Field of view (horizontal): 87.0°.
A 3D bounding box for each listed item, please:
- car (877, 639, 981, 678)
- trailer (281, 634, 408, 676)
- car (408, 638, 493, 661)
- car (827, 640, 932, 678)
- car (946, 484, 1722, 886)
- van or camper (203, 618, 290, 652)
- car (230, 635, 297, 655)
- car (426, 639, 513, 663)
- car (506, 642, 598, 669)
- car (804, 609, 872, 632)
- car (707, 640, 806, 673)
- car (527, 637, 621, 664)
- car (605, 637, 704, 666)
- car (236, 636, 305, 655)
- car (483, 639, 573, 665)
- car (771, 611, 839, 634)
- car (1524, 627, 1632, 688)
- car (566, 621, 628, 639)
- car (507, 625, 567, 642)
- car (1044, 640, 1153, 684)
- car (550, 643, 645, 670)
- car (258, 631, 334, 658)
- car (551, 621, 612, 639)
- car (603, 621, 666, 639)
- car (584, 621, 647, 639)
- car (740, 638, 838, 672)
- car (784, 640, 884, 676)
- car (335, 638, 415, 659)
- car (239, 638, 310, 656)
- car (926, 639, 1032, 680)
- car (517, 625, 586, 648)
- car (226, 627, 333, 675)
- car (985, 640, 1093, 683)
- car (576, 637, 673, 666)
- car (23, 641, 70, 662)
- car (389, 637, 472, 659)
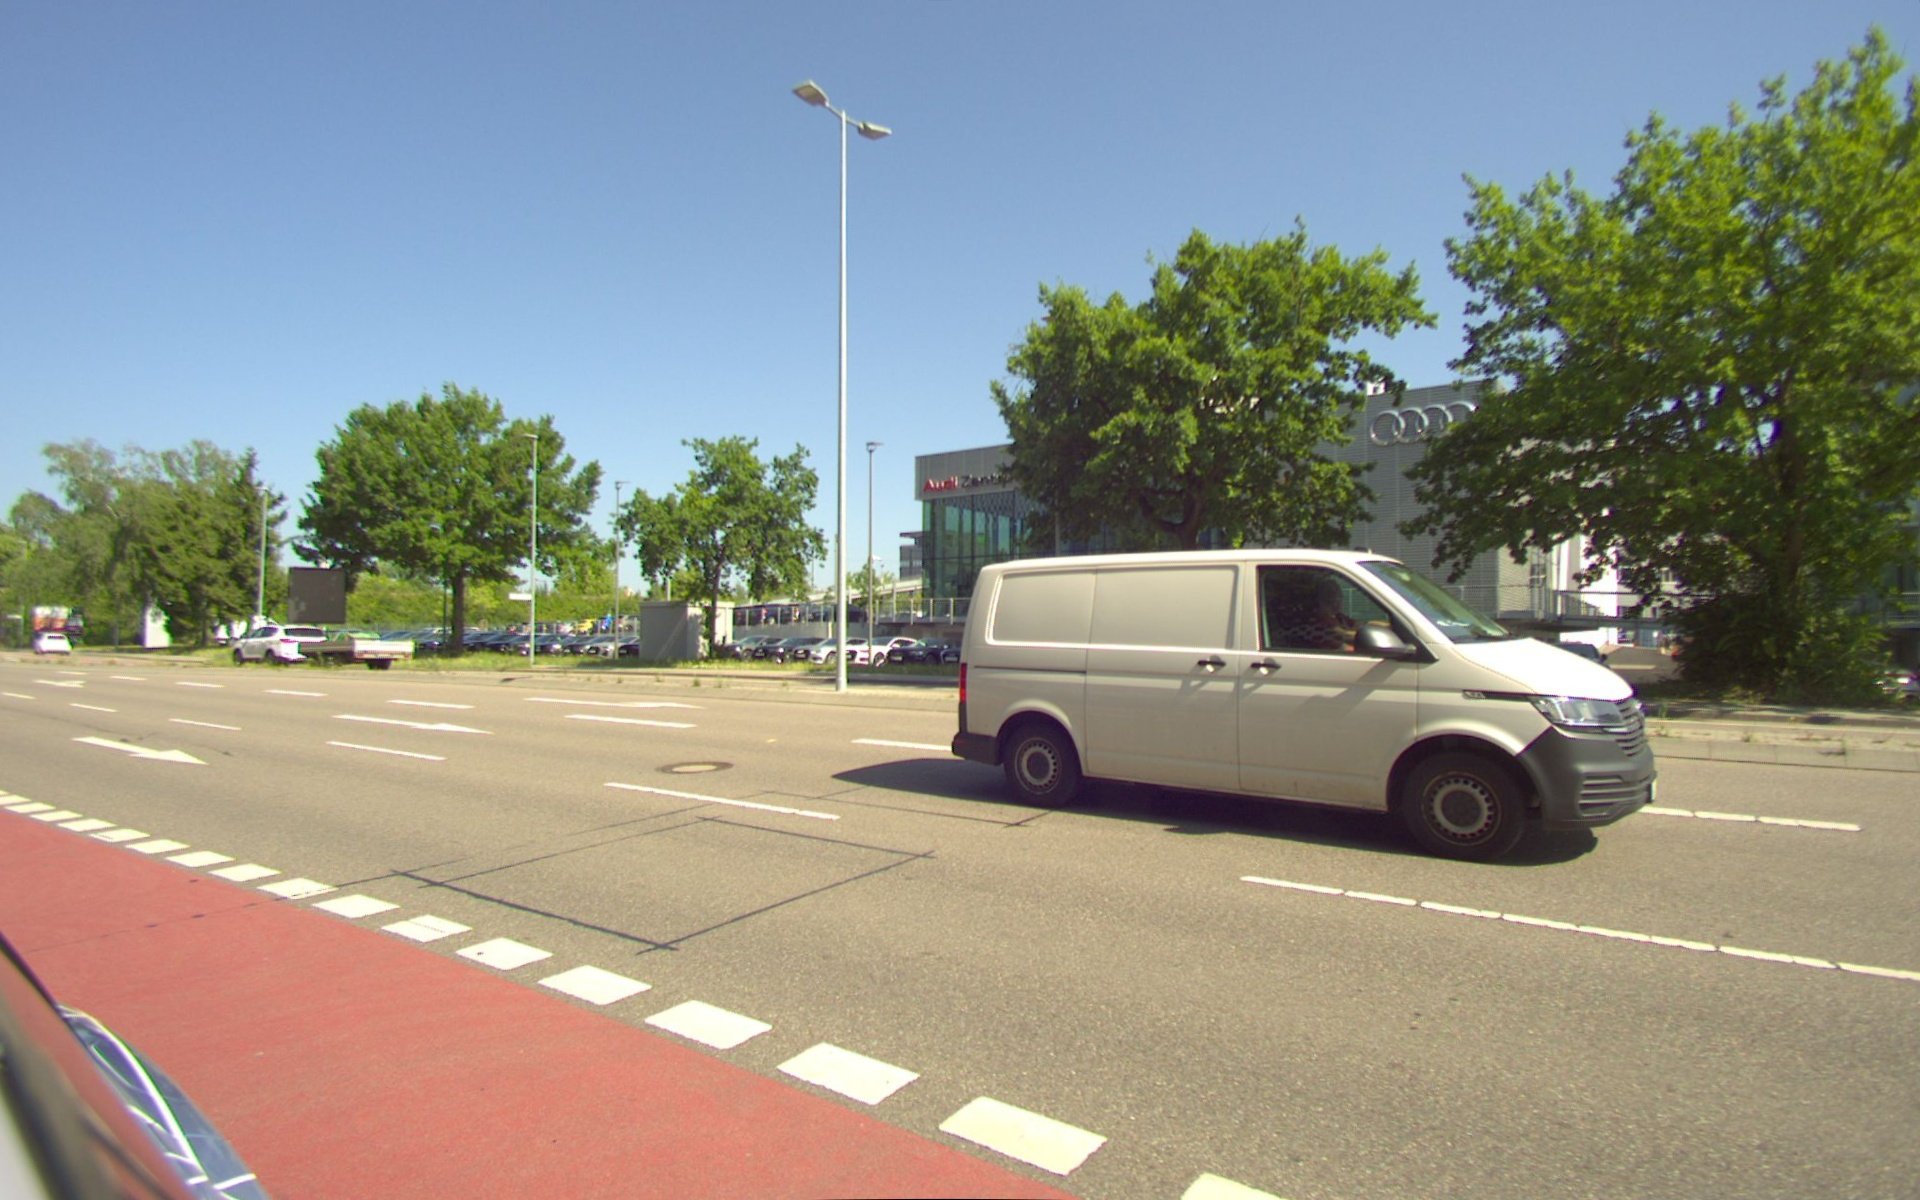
[{"bbox_3d":[-1.122,2.210,38.354,1.921,1.386,3.949,-2,-3,37],"label":"car"},{"bbox_3d":[-23.263,2.047,38.166,5.759,1.464,1.976,-2,-3,36],"label":"trailer"},{"bbox_3d":[-31.164,3.040,62.010,1.952,1.361,4.223,-2,-3,39],"label":"car"},{"bbox_3d":[-3.136,2.311,40.061,2.022,1.386,4.004,-2,-3,37],"label":"car"},{"bbox_3d":[2.380,0.529,7.393,4.970,2.009,1.863,-2,-4,40],"label":"car"},{"bbox_3d":[-57.417,2.777,81.535,1.995,2.489,5.332,-3,-2,35],"label":"van or camper"},{"bbox_3d":[-54.212,3.512,78.817,1.743,1.450,4.042,-2,-4,43],"label":"car"},{"bbox_3d":[-29.069,3.001,60.074,1.952,1.361,4.223,-2,-3,39],"label":"car"},{"bbox_3d":[-22.154,2.998,55.075,1.952,1.361,4.223,-2,-3,39],"label":"car"},{"bbox_3d":[-7.718,1.320,64.345,1.951,1.361,4.225,-2,-3,38],"label":"car"},{"bbox_3d":[-8.976,2.479,44.855,1.997,1.386,3.949,-2,-3,37],"label":"car"},{"bbox_3d":[-20.392,2.676,53.623,1.952,1.361,4.223,-2,-3,39],"label":"car"},{"bbox_3d":[-14.717,2.476,48.985,1.952,1.361,4.223,-2,-3,39],"label":"car"},{"bbox_3d":[-52.714,3.483,77.383,1.744,1.364,4.042,-1,-3,43],"label":"car"},{"bbox_3d":[-23.988,2.879,56.313,1.952,1.361,4.223,-2,-3,39],"label":"car"},{"bbox_3d":[-10.097,1.509,66.164,1.951,1.361,4.225,-2,-3,38],"label":"car"},{"bbox_3d":[15.630,1.427,25.502,1.921,1.386,3.949,-2,-3,37],"label":"car"},{"bbox_3d":[-28.692,2.418,80.133,1.951,1.361,4.225,-2,-3,38],"label":"car"},{"bbox_3d":[-35.282,2.856,84.485,1.951,1.361,4.225,-2,-3,38],"label":"car"},{"bbox_3d":[4.659,2.028,33.634,1.921,1.386,3.949,-2,-3,37],"label":"car"},{"bbox_3d":[-18.695,2.905,52.374,1.952,1.361,4.223,-2,-3,39],"label":"car"},{"bbox_3d":[-48.563,3.262,74.098,1.952,1.899,4.223,-2,-3,39],"label":"car"},{"bbox_3d":[-30.507,2.446,81.675,1.951,1.361,4.225,-2,-3,38],"label":"car"},{"bbox_3d":[-24.703,2.300,76.909,1.951,1.361,4.225,-2,-3,38],"label":"car"},{"bbox_3d":[-26.822,2.376,78.858,1.951,1.361,4.225,-2,-3,38],"label":"car"},{"bbox_3d":[-7.237,2.333,43.139,1.862,1.386,3.949,-2,-3,37],"label":"car"},{"bbox_3d":[-5.125,2.365,41.552,1.862,1.386,3.949,-2,-3,37],"label":"car"},{"bbox_3d":[-39.400,3.269,68.208,1.952,1.361,4.223,-2,-3,39],"label":"car"},{"bbox_3d":[-50.949,3.507,75.249,1.742,1.303,4.046,-2,-3,39],"label":"car"},{"bbox_3d":[0.756,2.141,36.768,1.921,1.386,3.949,-2,-3,37],"label":"car"},{"bbox_3d":[-29.553,2.671,73.332,1.952,1.655,4.223,-2,-3,39],"label":"car"},{"bbox_3d":[-27.769,2.075,41.240,4.926,1.847,1.976,-2,-3,35],"label":"car"},{"bbox_3d":[2.779,2.097,35.119,1.921,1.386,3.949,-2,-3,37],"label":"car"},{"bbox_3d":[-16.757,2.573,50.687,1.952,1.361,4.223,-2,-3,39],"label":"car"},{"bbox_3d":[-64.342,3.622,71.262,3.542,1.475,1.639,-2,-5,35],"label":"car"},{"bbox_3d":[-33.212,3.021,63.540,1.952,1.361,4.223,-2,-3,39],"label":"car"}]
